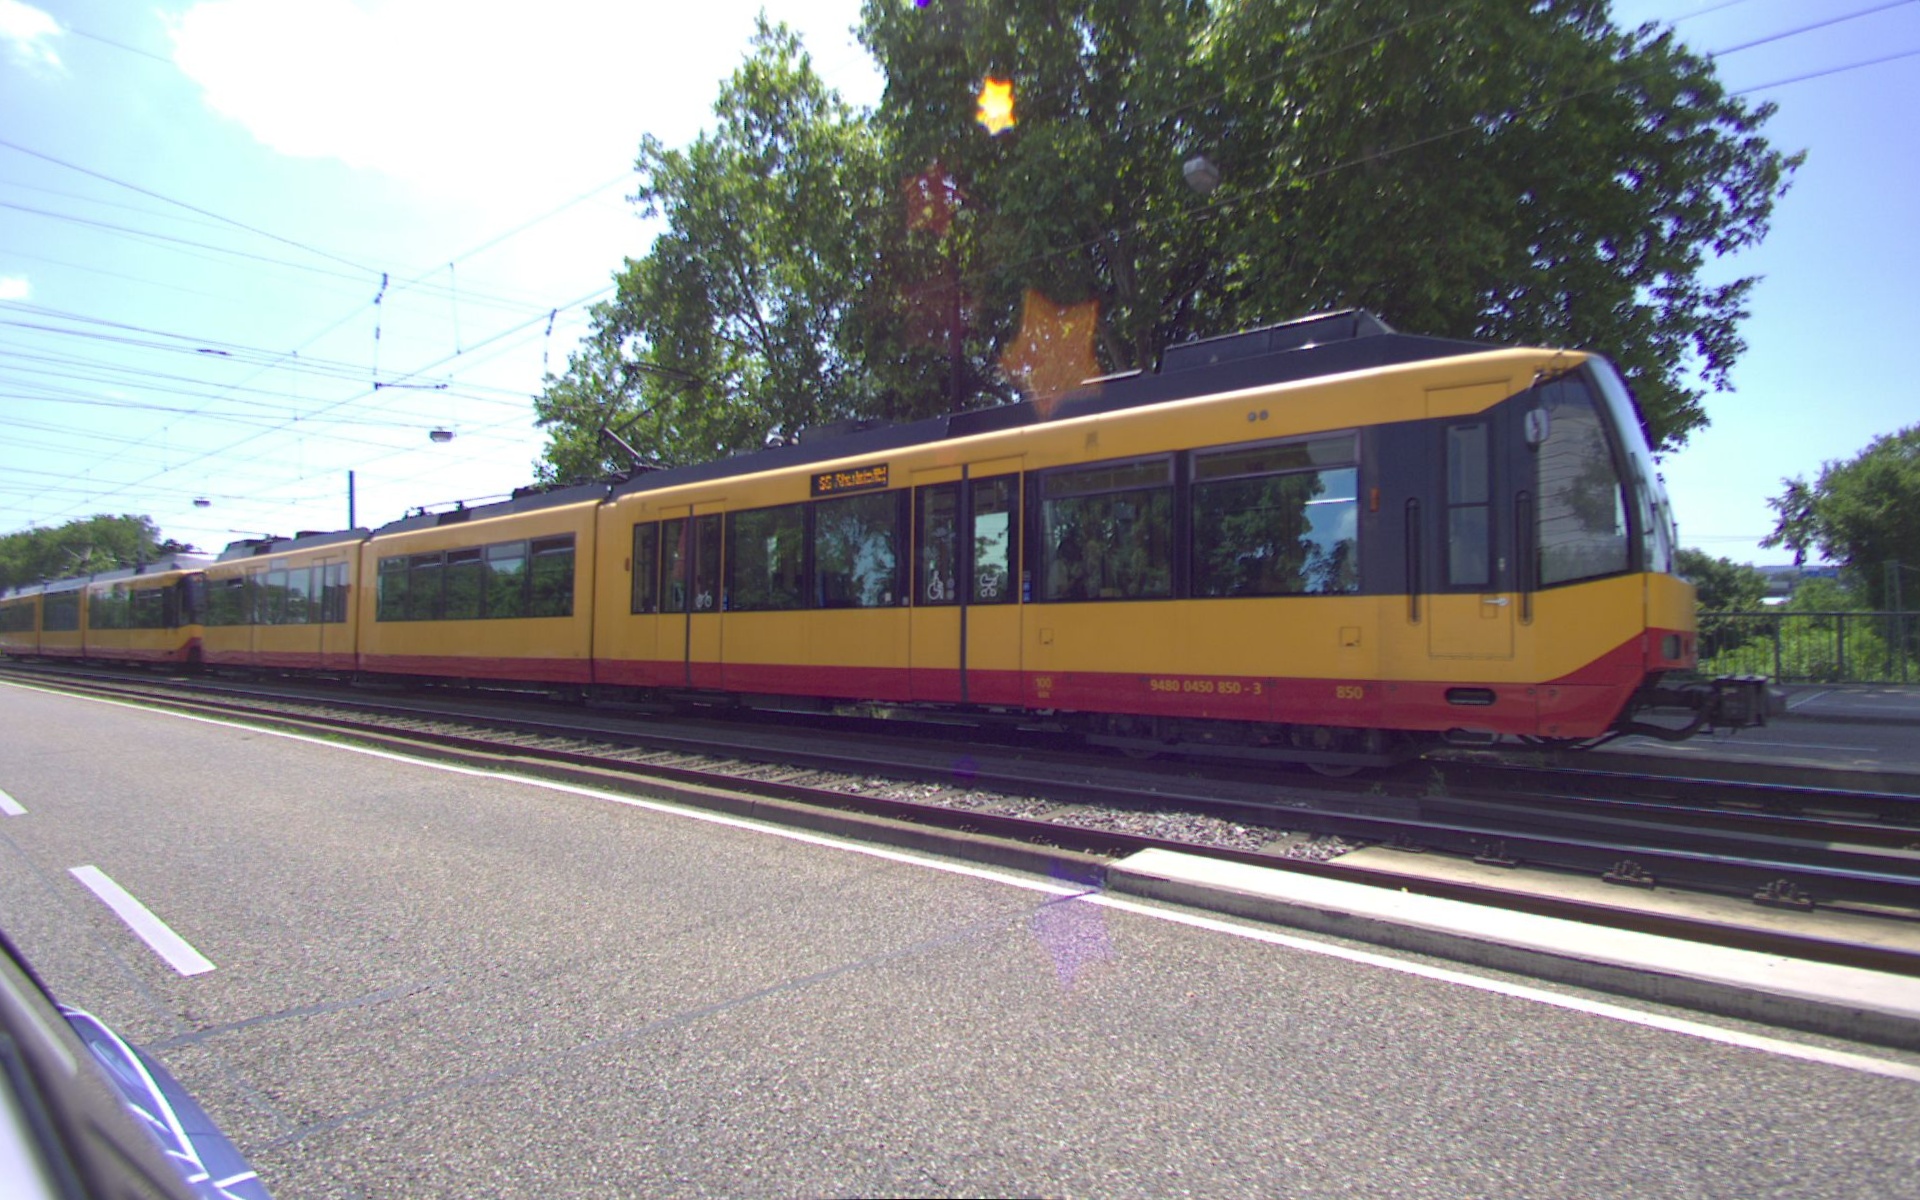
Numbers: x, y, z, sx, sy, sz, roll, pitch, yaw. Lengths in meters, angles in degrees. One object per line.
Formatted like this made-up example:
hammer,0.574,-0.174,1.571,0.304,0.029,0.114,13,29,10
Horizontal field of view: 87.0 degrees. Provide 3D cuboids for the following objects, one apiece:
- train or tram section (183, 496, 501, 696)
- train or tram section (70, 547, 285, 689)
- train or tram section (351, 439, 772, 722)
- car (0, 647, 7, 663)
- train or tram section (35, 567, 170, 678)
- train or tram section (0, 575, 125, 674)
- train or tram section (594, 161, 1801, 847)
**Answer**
train or tram section,-16.782,0.073,26.696,13.470,4.186,3.007,-2,-2,40
train or tram section,-28.367,0.709,36.247,14.021,4.300,3.018,-2,-2,39
train or tram section,-8.074,-0.166,19.367,10.225,4.180,3.007,-2,-2,40
car,-95.537,5.425,99.752,3.952,1.547,1.735,-2,-2,39
train or tram section,-36.414,0.968,42.867,7.995,4.300,3.018,-2,-2,40
train or tram section,-45.061,1.249,50.100,15.409,4.300,3.017,-2,-2,40
train or tram section,0.704,-0.432,11.866,13.973,4.172,3.006,-2,-2,41
